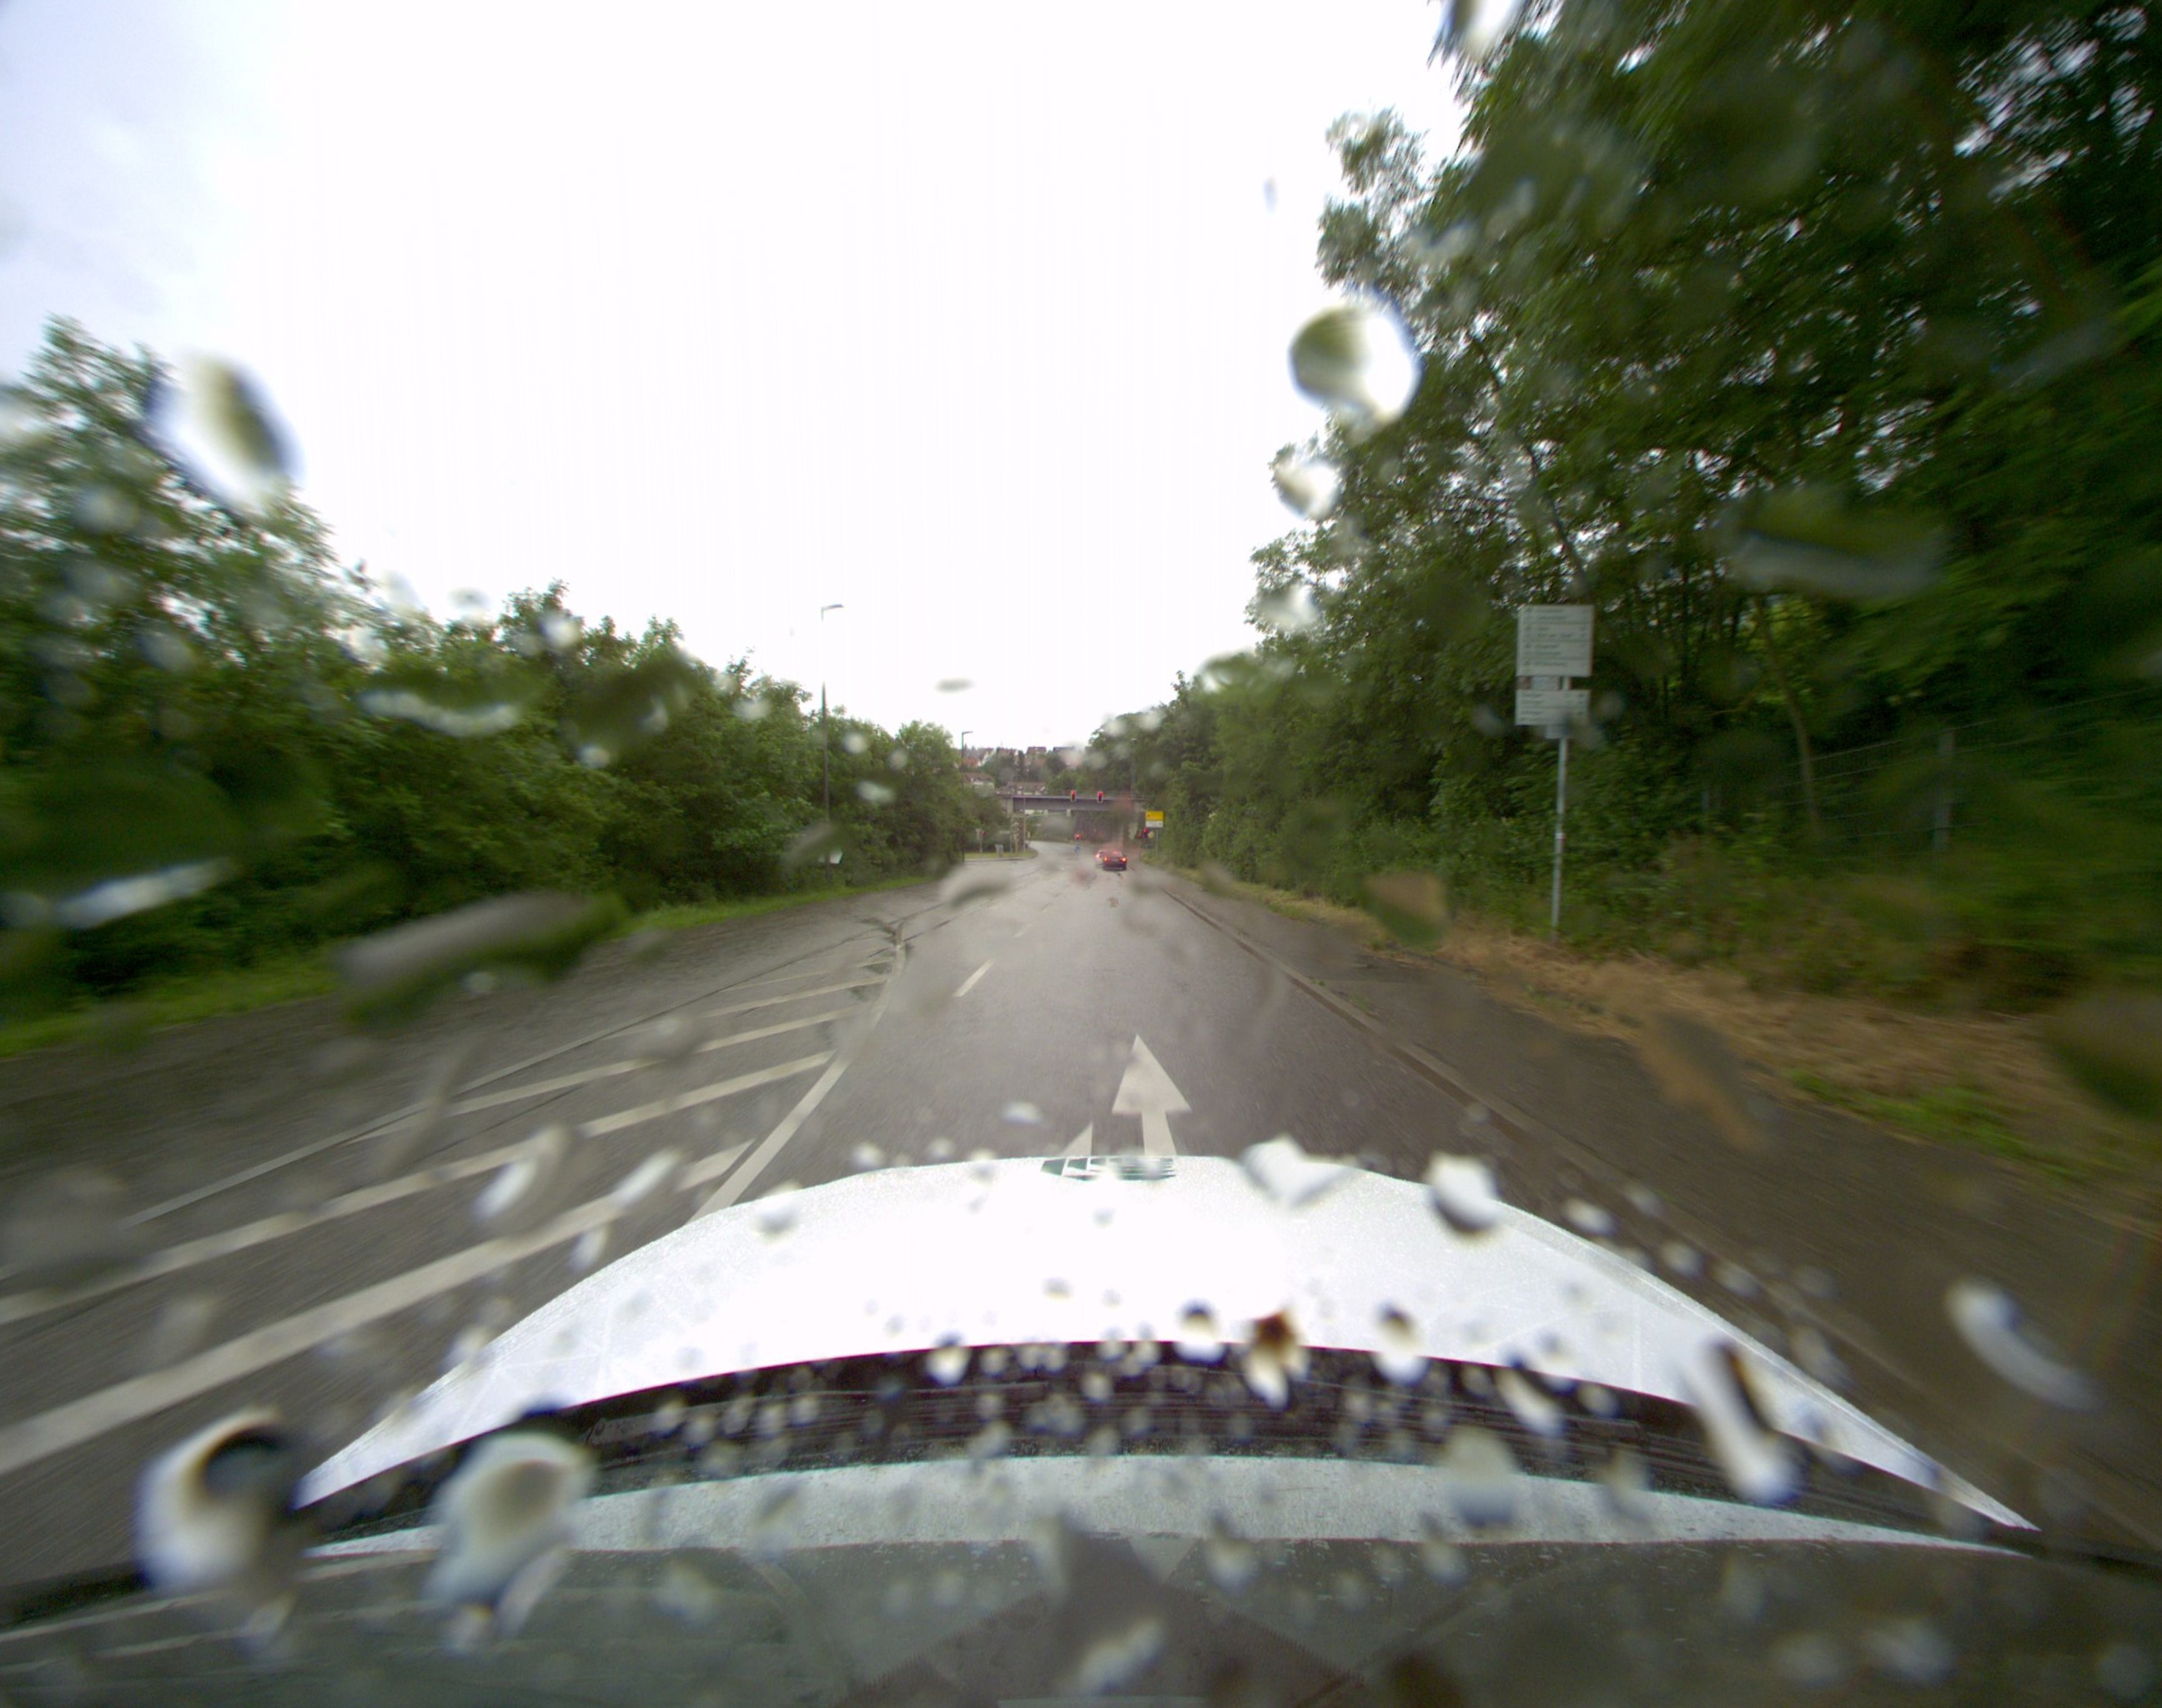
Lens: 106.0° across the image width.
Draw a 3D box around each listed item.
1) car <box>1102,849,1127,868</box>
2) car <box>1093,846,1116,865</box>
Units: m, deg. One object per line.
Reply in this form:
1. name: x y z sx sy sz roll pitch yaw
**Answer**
1. car: 2.485 0.310 60.872 1.761 1.380 4.002 -1 0 2
2. car: 1.978 0.123 67.557 1.761 1.563 4.002 -1 0 2
